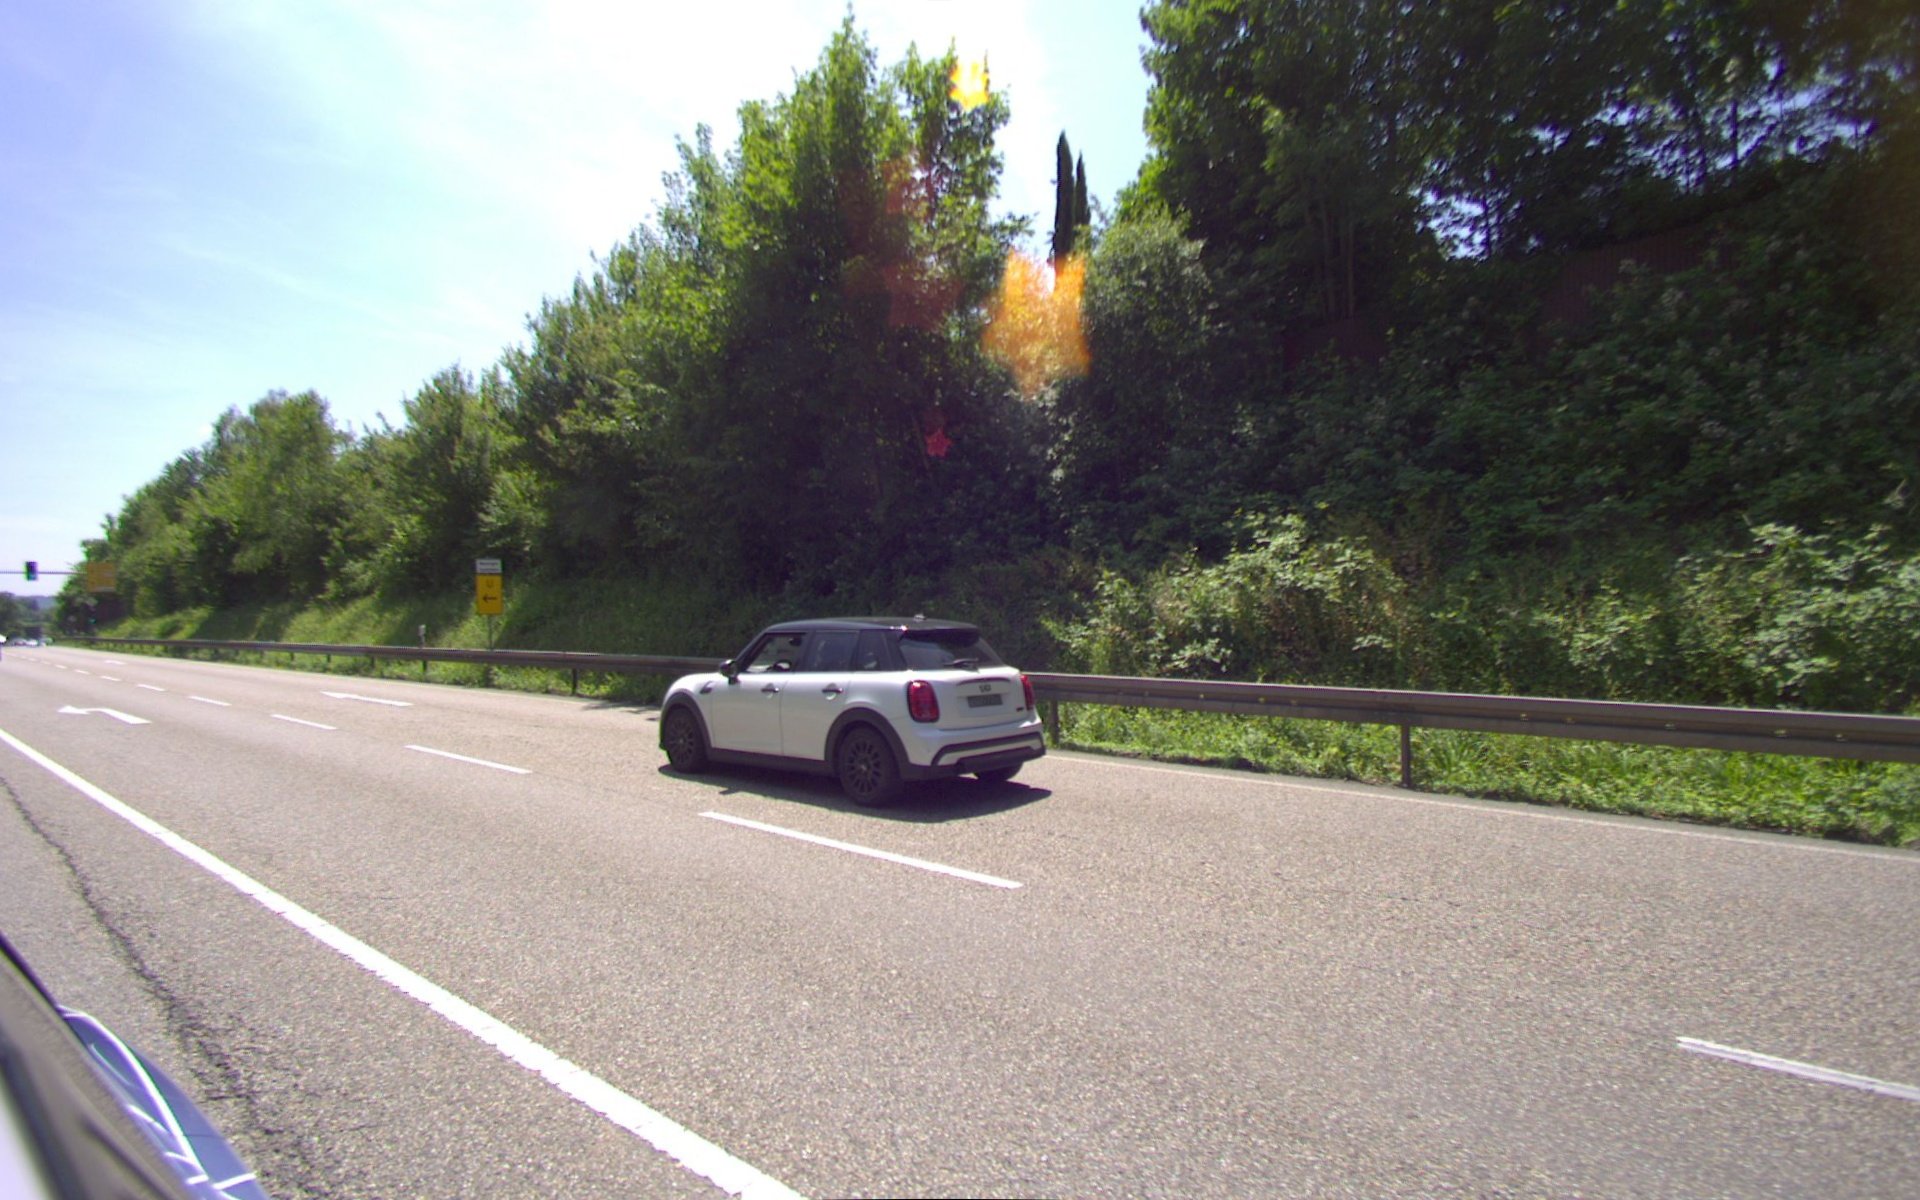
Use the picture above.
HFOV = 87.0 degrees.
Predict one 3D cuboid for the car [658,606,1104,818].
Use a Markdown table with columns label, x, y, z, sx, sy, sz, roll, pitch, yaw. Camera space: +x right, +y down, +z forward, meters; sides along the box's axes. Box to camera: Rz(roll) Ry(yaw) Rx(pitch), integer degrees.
| label | x | y | z | sx | sy | sz | roll | pitch | yaw |
| --- | --- | --- | --- | --- | --- | --- | --- | --- | --- |
| car | -0.844 | 0.821 | 8.915 | 3.871 | 1.446 | 1.786 | -2 | -2 | 43 |
